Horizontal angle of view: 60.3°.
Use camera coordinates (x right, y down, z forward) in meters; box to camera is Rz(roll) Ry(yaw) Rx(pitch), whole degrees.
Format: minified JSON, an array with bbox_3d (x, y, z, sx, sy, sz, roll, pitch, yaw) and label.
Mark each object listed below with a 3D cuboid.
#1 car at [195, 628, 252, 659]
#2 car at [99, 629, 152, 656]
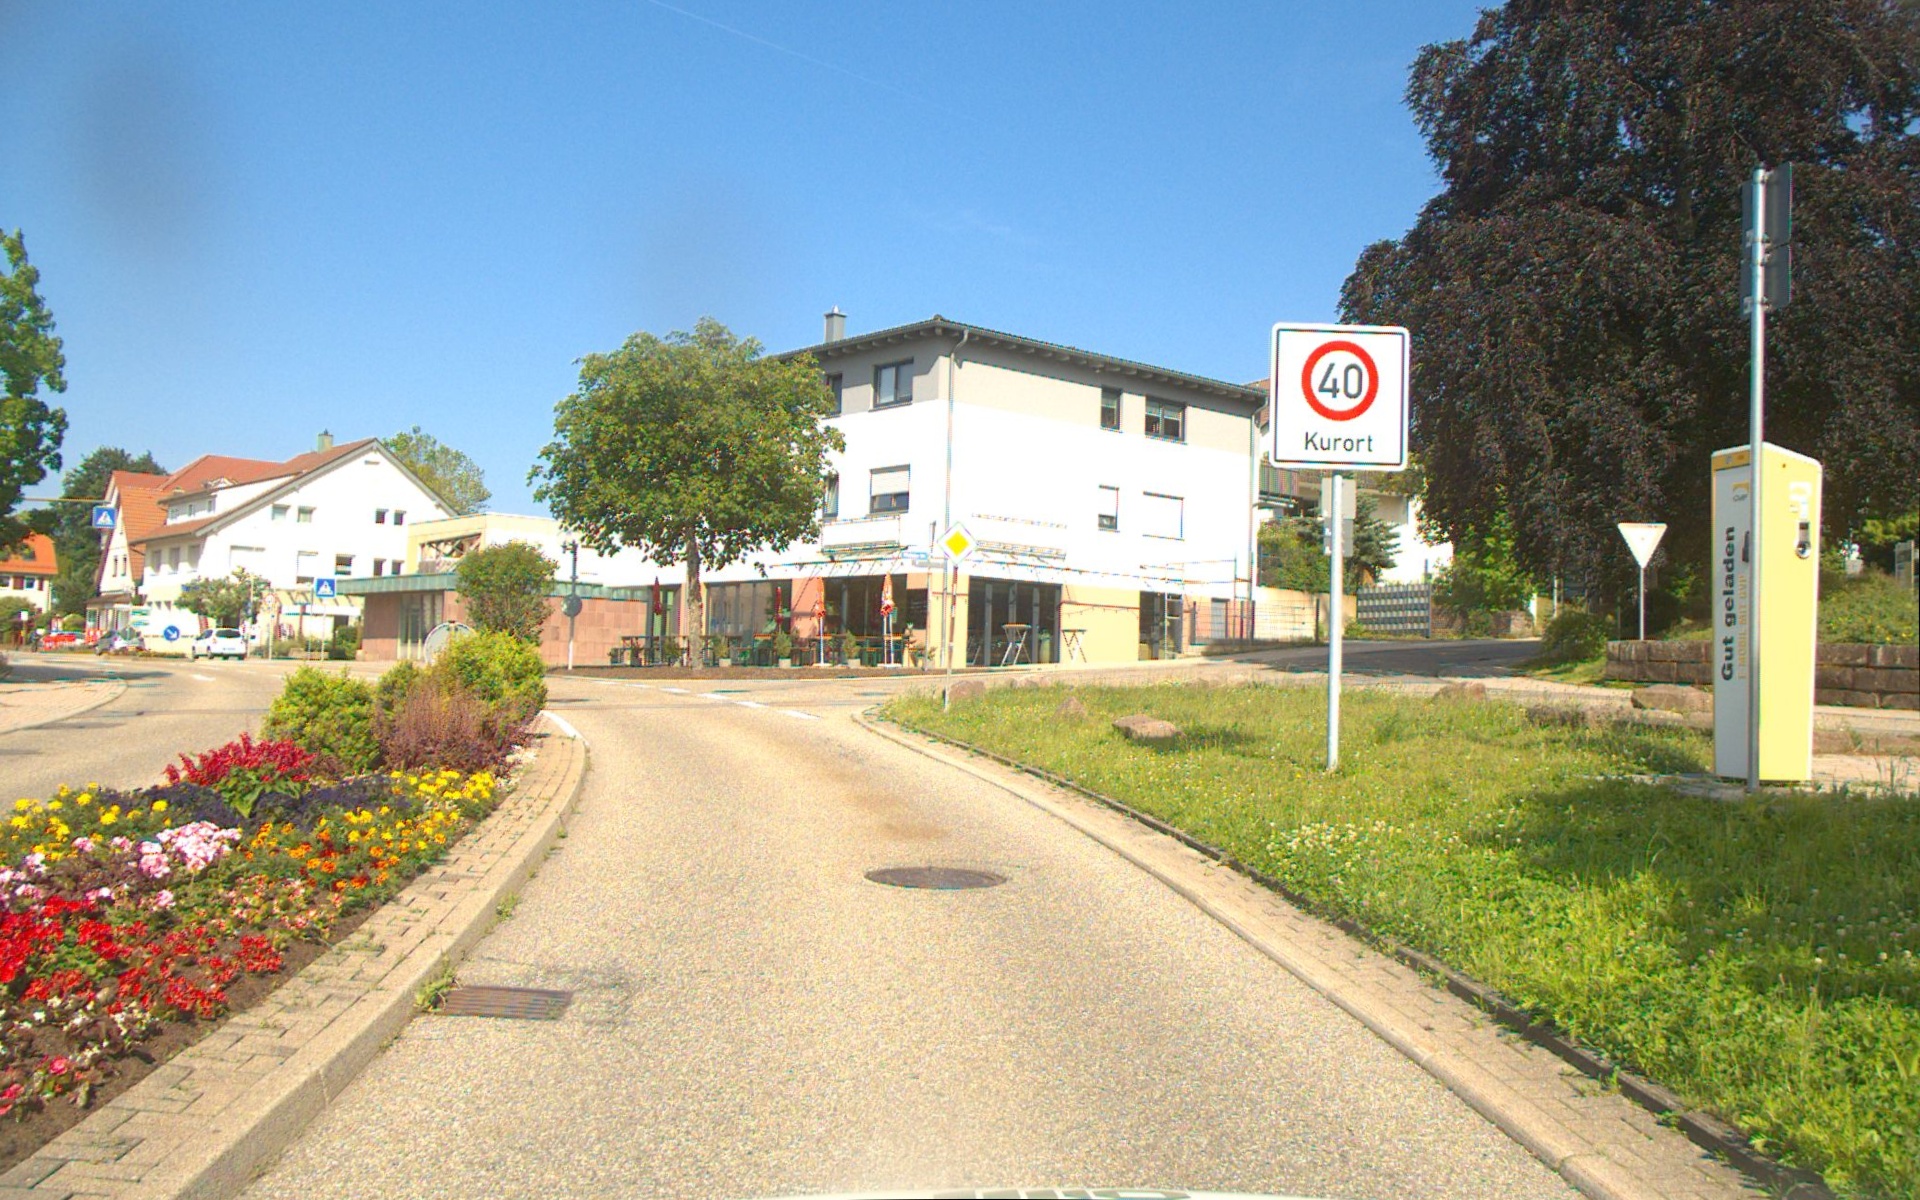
[{"bbox_3d":[-35.279,2.073,79.160,1.747,1.448,3.585,0,-1,-37],"label":"car"},{"bbox_3d":[-47.050,2.402,93.227,1.627,1.445,3.872,0,-2,-43],"label":"car"}]
